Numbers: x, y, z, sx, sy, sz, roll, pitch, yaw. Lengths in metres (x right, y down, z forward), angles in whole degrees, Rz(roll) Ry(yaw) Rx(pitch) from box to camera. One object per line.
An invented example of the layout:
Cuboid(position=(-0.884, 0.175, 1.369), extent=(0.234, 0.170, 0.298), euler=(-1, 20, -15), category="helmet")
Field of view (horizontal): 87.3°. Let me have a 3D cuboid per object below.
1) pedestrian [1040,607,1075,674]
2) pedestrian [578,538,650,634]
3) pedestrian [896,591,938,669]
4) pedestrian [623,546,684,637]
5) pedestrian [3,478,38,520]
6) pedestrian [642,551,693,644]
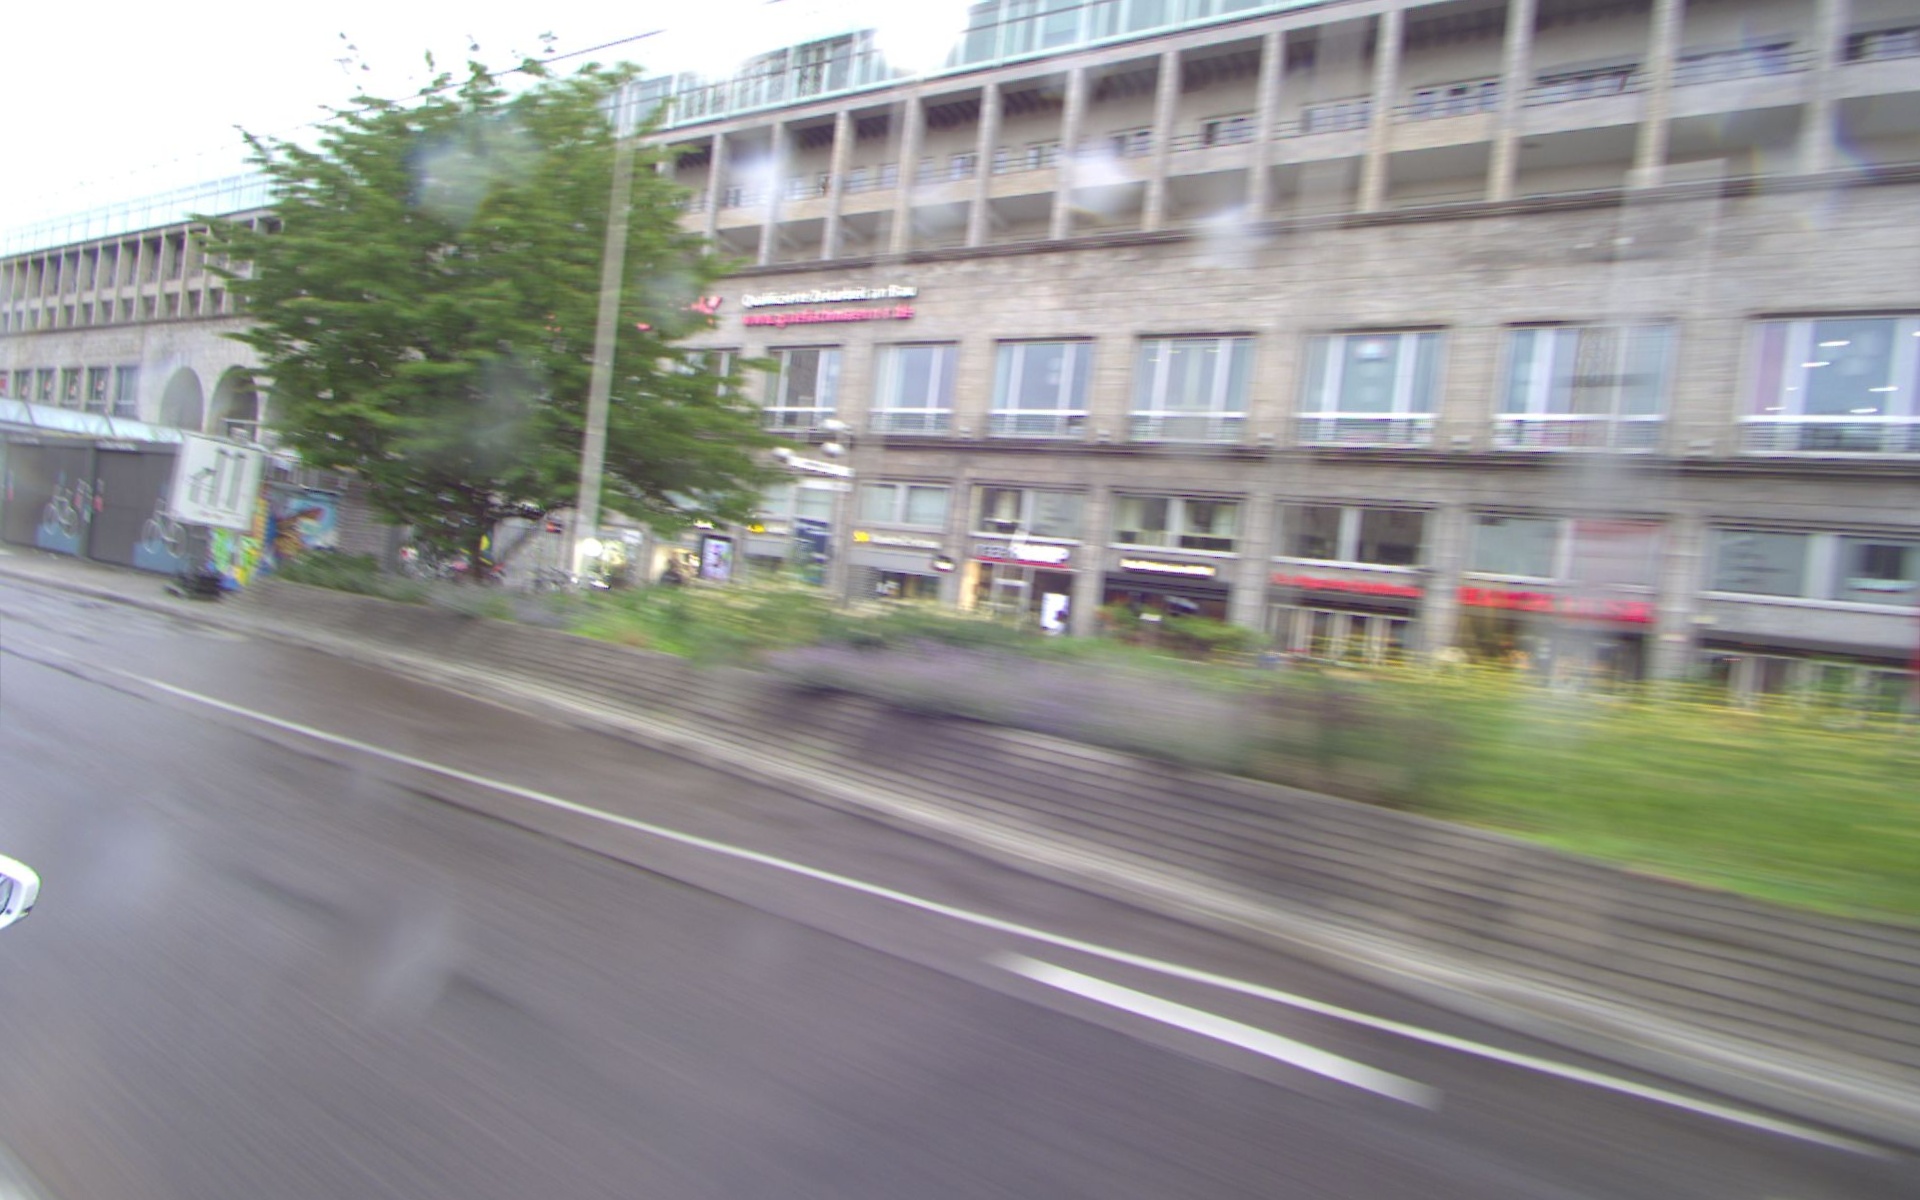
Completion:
Cuboid(position=(2.657, 1.105, 27.415), extent=(0.563, 1.773, 0.527), euler=(7, 1, 30), category="pedestrian")
Cuboid(position=(-6.963, -0.279, 20.253), extent=(1.058, 1.773, 0.641), euler=(7, 1, 29), category="pedestrian")
Cuboid(position=(-1.009, 0.709, 23.662), extent=(0.625, 1.773, 0.532), euler=(7, 1, 29), category="pedestrian")
Cuboid(position=(-6.404, -0.178, 21.020), extent=(0.853, 1.773, 0.613), euler=(7, 1, 29), category="pedestrian")
Cuboid(position=(-44.496, -4.774, 47.649), extent=(0.739, 1.853, 0.761), euler=(7, 1, 1), category="pedestrian")
Cuboid(position=(-5.821, -0.047, 20.031), extent=(0.558, 1.773, 0.567), euler=(7, 1, 28), category="pedestrian")
